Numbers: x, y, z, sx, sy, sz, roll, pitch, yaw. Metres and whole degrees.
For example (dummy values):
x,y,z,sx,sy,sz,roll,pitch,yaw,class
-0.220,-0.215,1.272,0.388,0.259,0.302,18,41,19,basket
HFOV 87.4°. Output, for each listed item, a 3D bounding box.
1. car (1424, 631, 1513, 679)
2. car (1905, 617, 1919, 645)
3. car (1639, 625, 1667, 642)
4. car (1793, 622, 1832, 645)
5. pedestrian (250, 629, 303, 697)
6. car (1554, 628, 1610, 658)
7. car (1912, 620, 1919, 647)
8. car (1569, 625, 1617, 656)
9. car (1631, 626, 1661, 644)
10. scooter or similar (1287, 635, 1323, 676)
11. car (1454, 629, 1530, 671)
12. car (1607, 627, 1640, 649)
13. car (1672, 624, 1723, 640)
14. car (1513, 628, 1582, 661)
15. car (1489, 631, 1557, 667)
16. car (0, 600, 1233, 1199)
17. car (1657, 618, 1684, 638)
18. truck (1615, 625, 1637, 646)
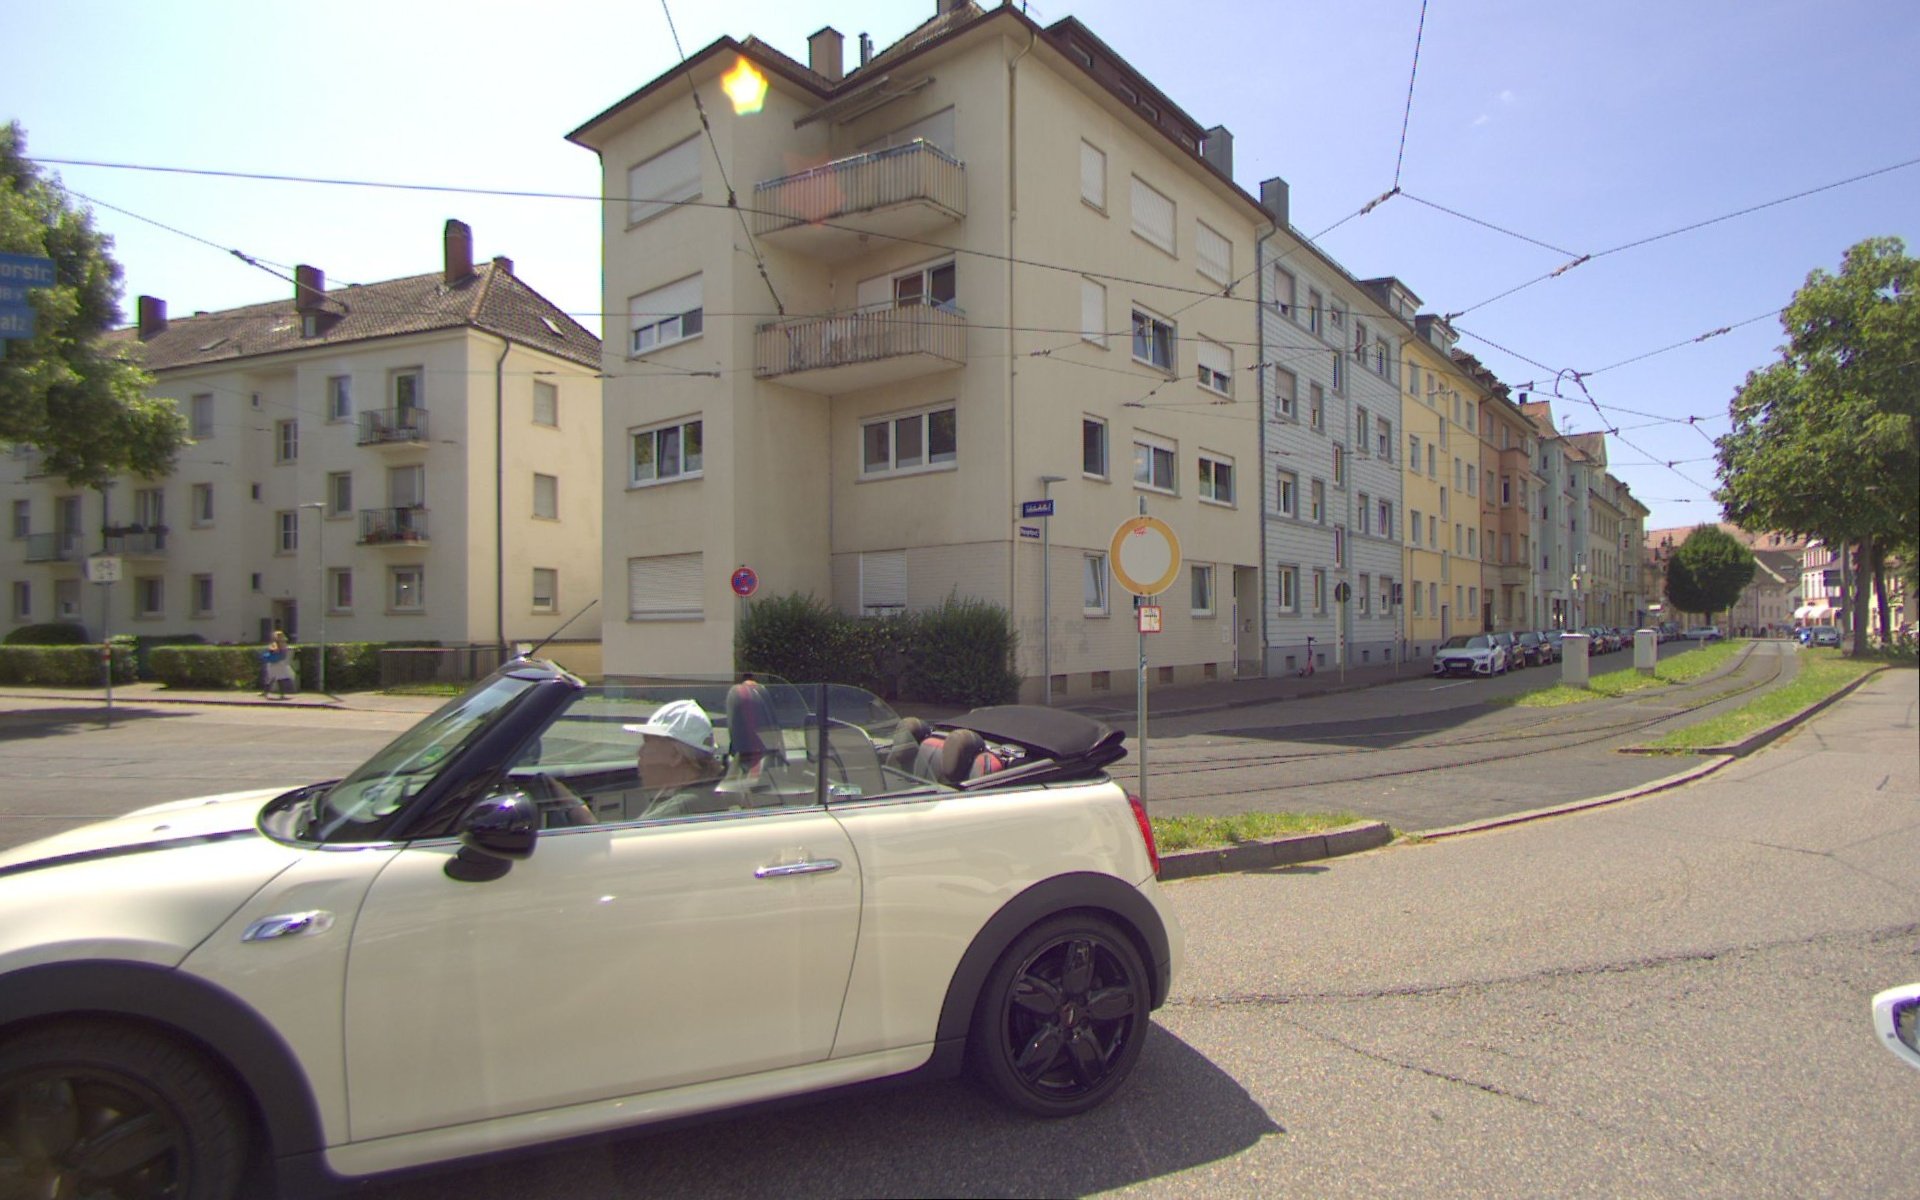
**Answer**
x,y,z,sx,sy,sz,roll,pitch,yaw,class
17.540,1.867,34.552,1.904,1.470,4.359,-4,-3,37,car
72.815,2.302,75.728,2.026,2.029,5.222,0,-1,41,car
59.686,2.886,86.525,1.666,1.408,3.840,-3,-3,39,car
59.797,2.337,70.508,1.879,1.554,4.227,0,-1,37,car
-16.478,1.505,24.232,0.729,1.580,0.777,0,0,19,pedestrian
33.866,2.341,54.651,1.905,1.510,4.841,-3,-3,39,car
67.245,2.293,69.262,1.969,1.850,4.402,0,-1,39,car
37.146,2.350,58.901,1.815,1.707,4.124,-3,-3,39,car
56.155,2.840,82.246,1.666,1.378,3.840,-3,-3,39,car
10.762,1.721,31.303,0.630,1.239,1.315,0,-1,40,scooter or similar
20.684,1.911,38.981,1.904,1.525,4.309,-2,-2,37,car
46.585,2.680,70.471,1.553,1.470,3.609,-3,-3,39,car
76.535,3.331,104.281,4.149,1.524,1.997,-3,-3,36,car
27.409,2.053,46.775,1.906,1.416,4.839,-3,-3,40,car
23.897,2.051,42.579,1.809,1.418,4.123,-3,-2,40,car
-1.137,0.790,3.341,3.695,1.483,1.769,1,-2,-24,car
71.541,2.848,101.175,1.831,1.936,4.749,-3,-3,39,car
49.080,2.627,73.998,1.112,1.514,2.583,-3,-3,38,truck
